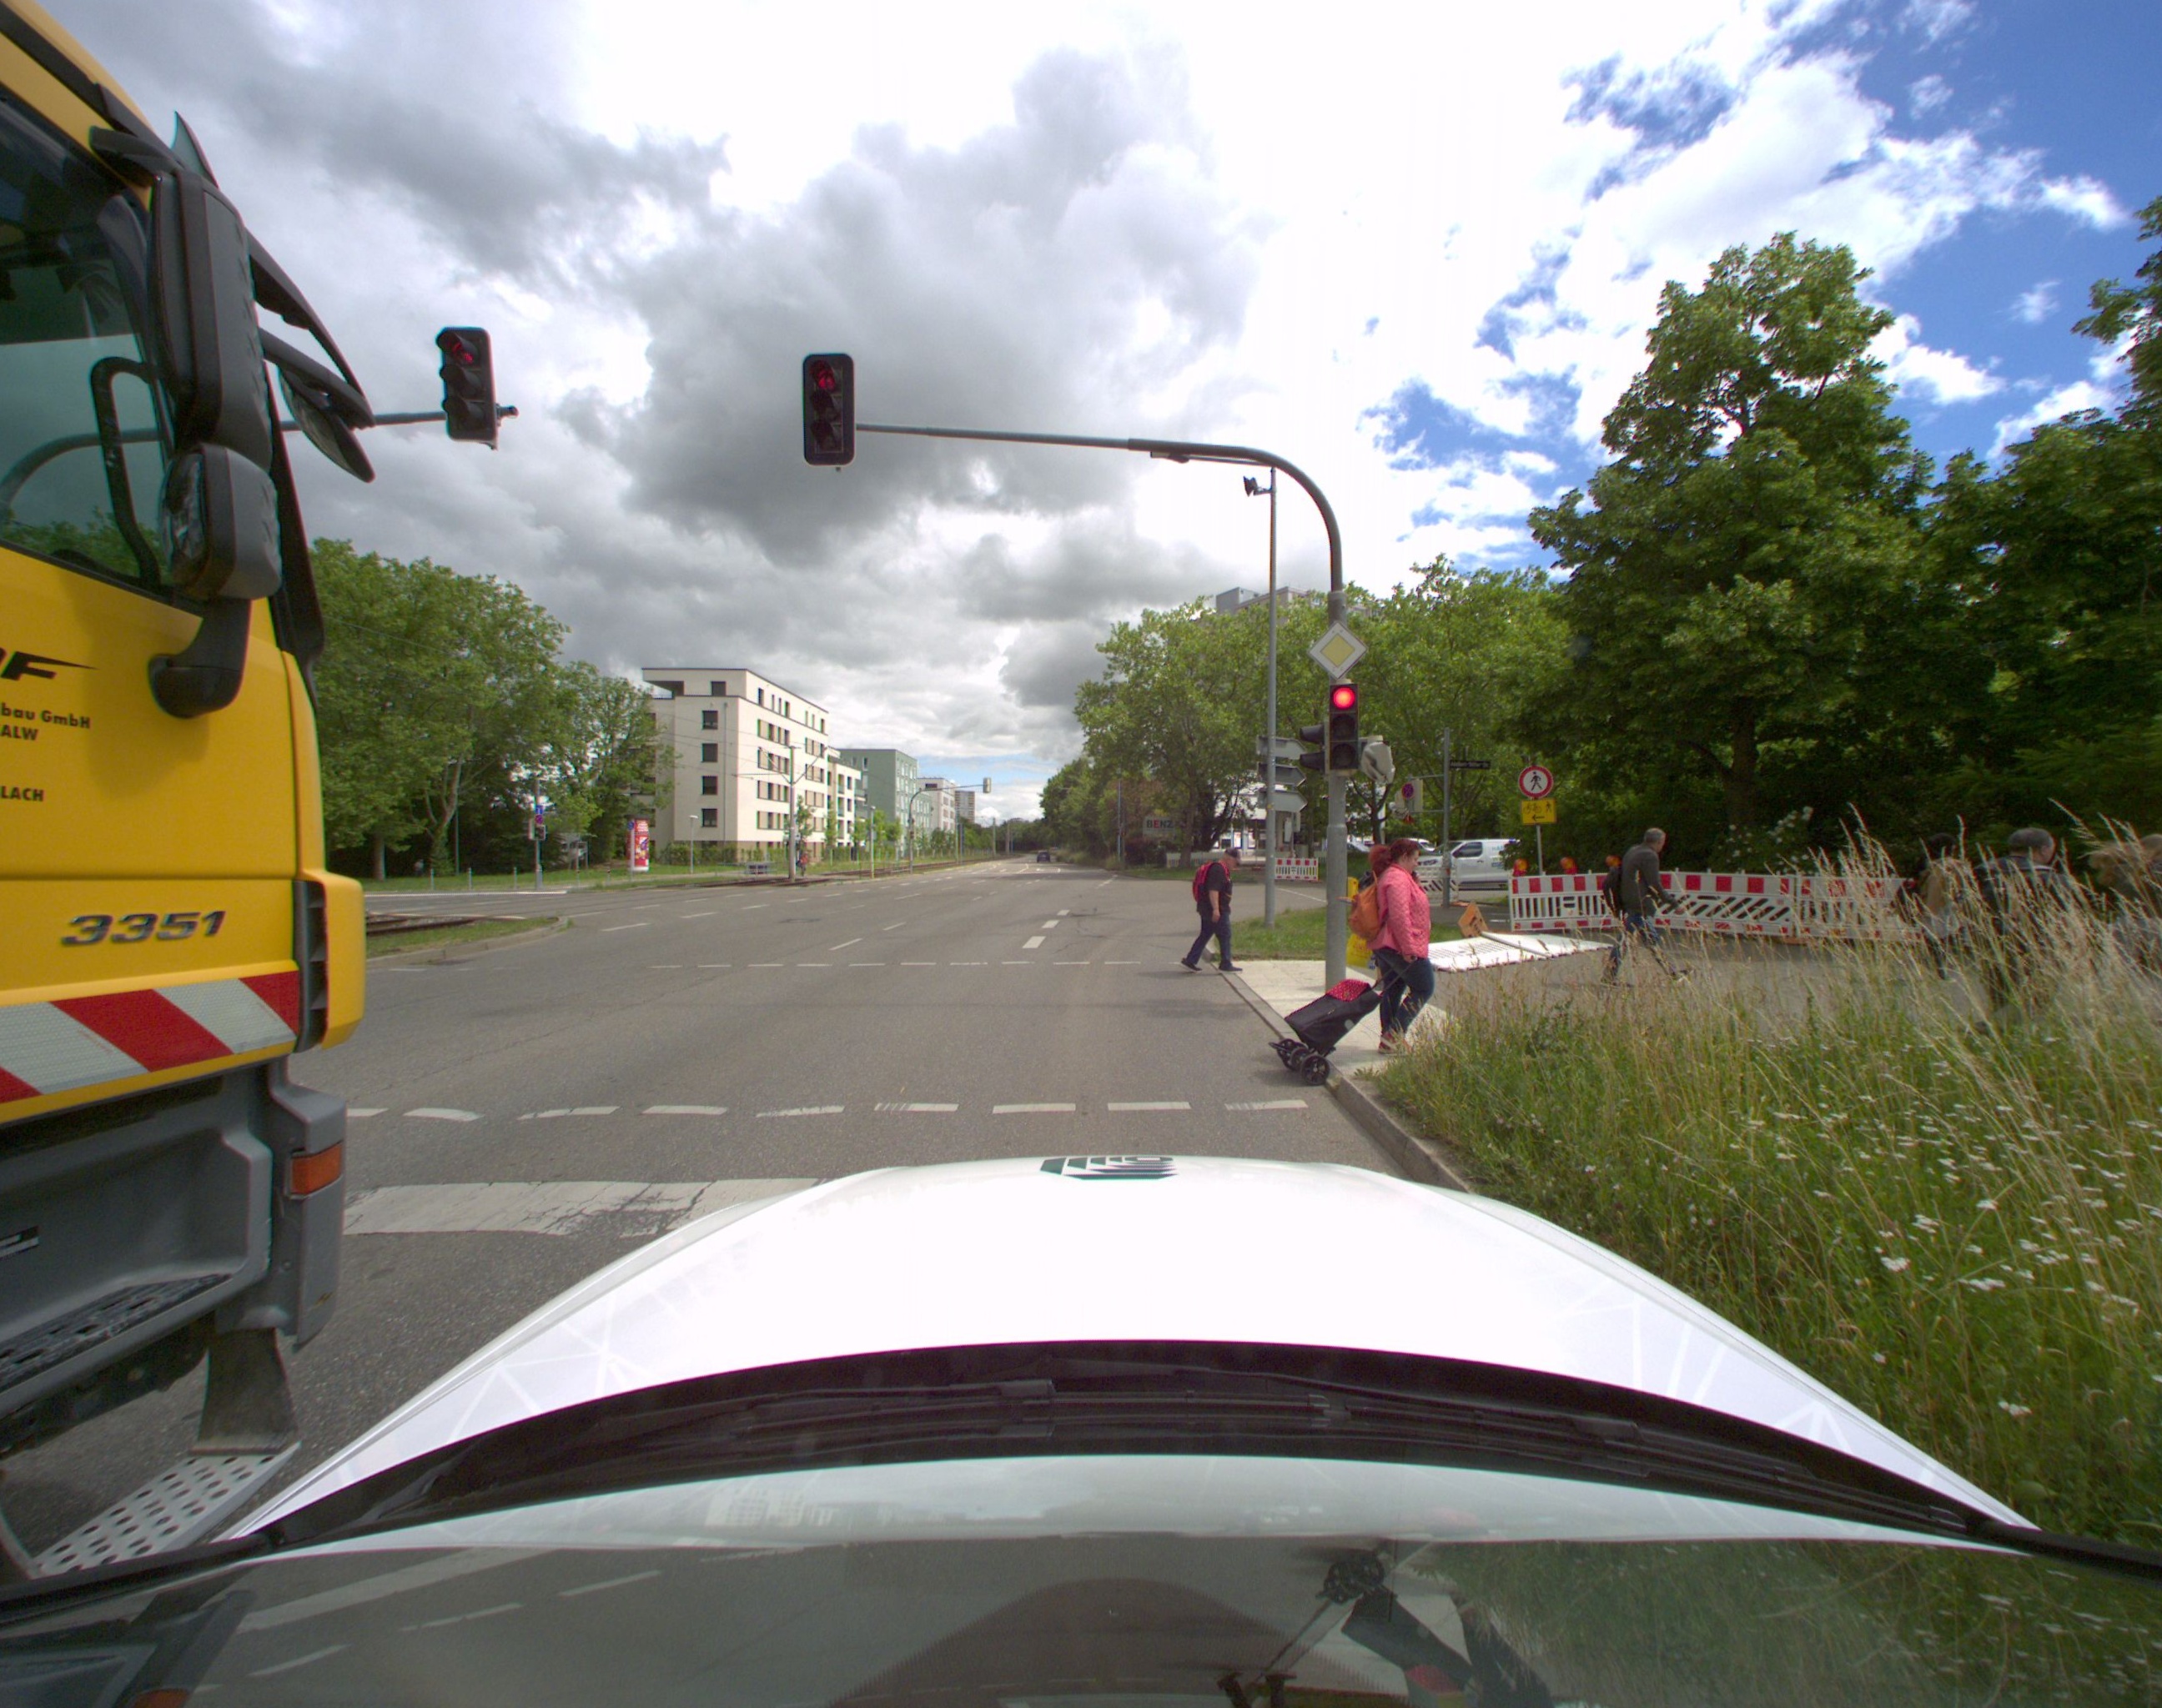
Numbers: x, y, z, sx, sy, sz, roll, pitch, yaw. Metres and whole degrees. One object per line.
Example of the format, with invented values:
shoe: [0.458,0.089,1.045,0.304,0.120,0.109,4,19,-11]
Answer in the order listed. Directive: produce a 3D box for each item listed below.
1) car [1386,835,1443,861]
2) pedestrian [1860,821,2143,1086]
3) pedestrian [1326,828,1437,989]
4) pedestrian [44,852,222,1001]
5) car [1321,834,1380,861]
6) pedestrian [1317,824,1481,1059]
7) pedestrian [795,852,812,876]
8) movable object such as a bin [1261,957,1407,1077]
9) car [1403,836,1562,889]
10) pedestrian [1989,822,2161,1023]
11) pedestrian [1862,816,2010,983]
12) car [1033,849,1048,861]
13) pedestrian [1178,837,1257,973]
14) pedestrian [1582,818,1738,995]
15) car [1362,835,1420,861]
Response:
car: [27.317,-0.493,66.866,2.006,2.013,3.962,-1,0,-29]
pedestrian: [6.223,0.620,5.567,0.956,1.648,0.879,-1,0,-3]
pedestrian: [3.159,0.548,8.656,0.907,1.607,0.931,-1,0,7]
pedestrian: [-10.505,0.762,9.070,0.945,1.552,0.841,-1,0,-6]
car: [20.572,-0.482,62.249,2.006,2.013,3.962,-1,0,-29]
pedestrian: [2.224,0.580,5.789,0.877,1.554,0.747,-1,0,2]
pedestrian: [-17.584,0.622,51.570,0.827,1.516,0.636,-1,0,1]
movable object such as a bin: [1.716,1.099,5.637,0.792,0.662,0.778,-1,0,2]
car: [14.932,0.303,30.452,5.063,1.874,1.947,-1,0,-2]
pedestrian: [9.016,0.560,7.160,1.015,1.648,0.931,-1,0,7]
pedestrian: [9.367,0.473,8.966,0.777,1.742,0.831,-1,0,10]
car: [-5.269,0.148,105.786,1.978,1.486,4.485,-1,0,-4]
pedestrian: [1.705,0.595,10.070,0.886,1.596,0.911,-1,0,12]
pedestrian: [6.099,0.525,8.643,0.998,1.773,0.930,-1,0,2]
car: [24.603,-0.489,64.732,2.006,2.013,3.962,-1,0,-29]
